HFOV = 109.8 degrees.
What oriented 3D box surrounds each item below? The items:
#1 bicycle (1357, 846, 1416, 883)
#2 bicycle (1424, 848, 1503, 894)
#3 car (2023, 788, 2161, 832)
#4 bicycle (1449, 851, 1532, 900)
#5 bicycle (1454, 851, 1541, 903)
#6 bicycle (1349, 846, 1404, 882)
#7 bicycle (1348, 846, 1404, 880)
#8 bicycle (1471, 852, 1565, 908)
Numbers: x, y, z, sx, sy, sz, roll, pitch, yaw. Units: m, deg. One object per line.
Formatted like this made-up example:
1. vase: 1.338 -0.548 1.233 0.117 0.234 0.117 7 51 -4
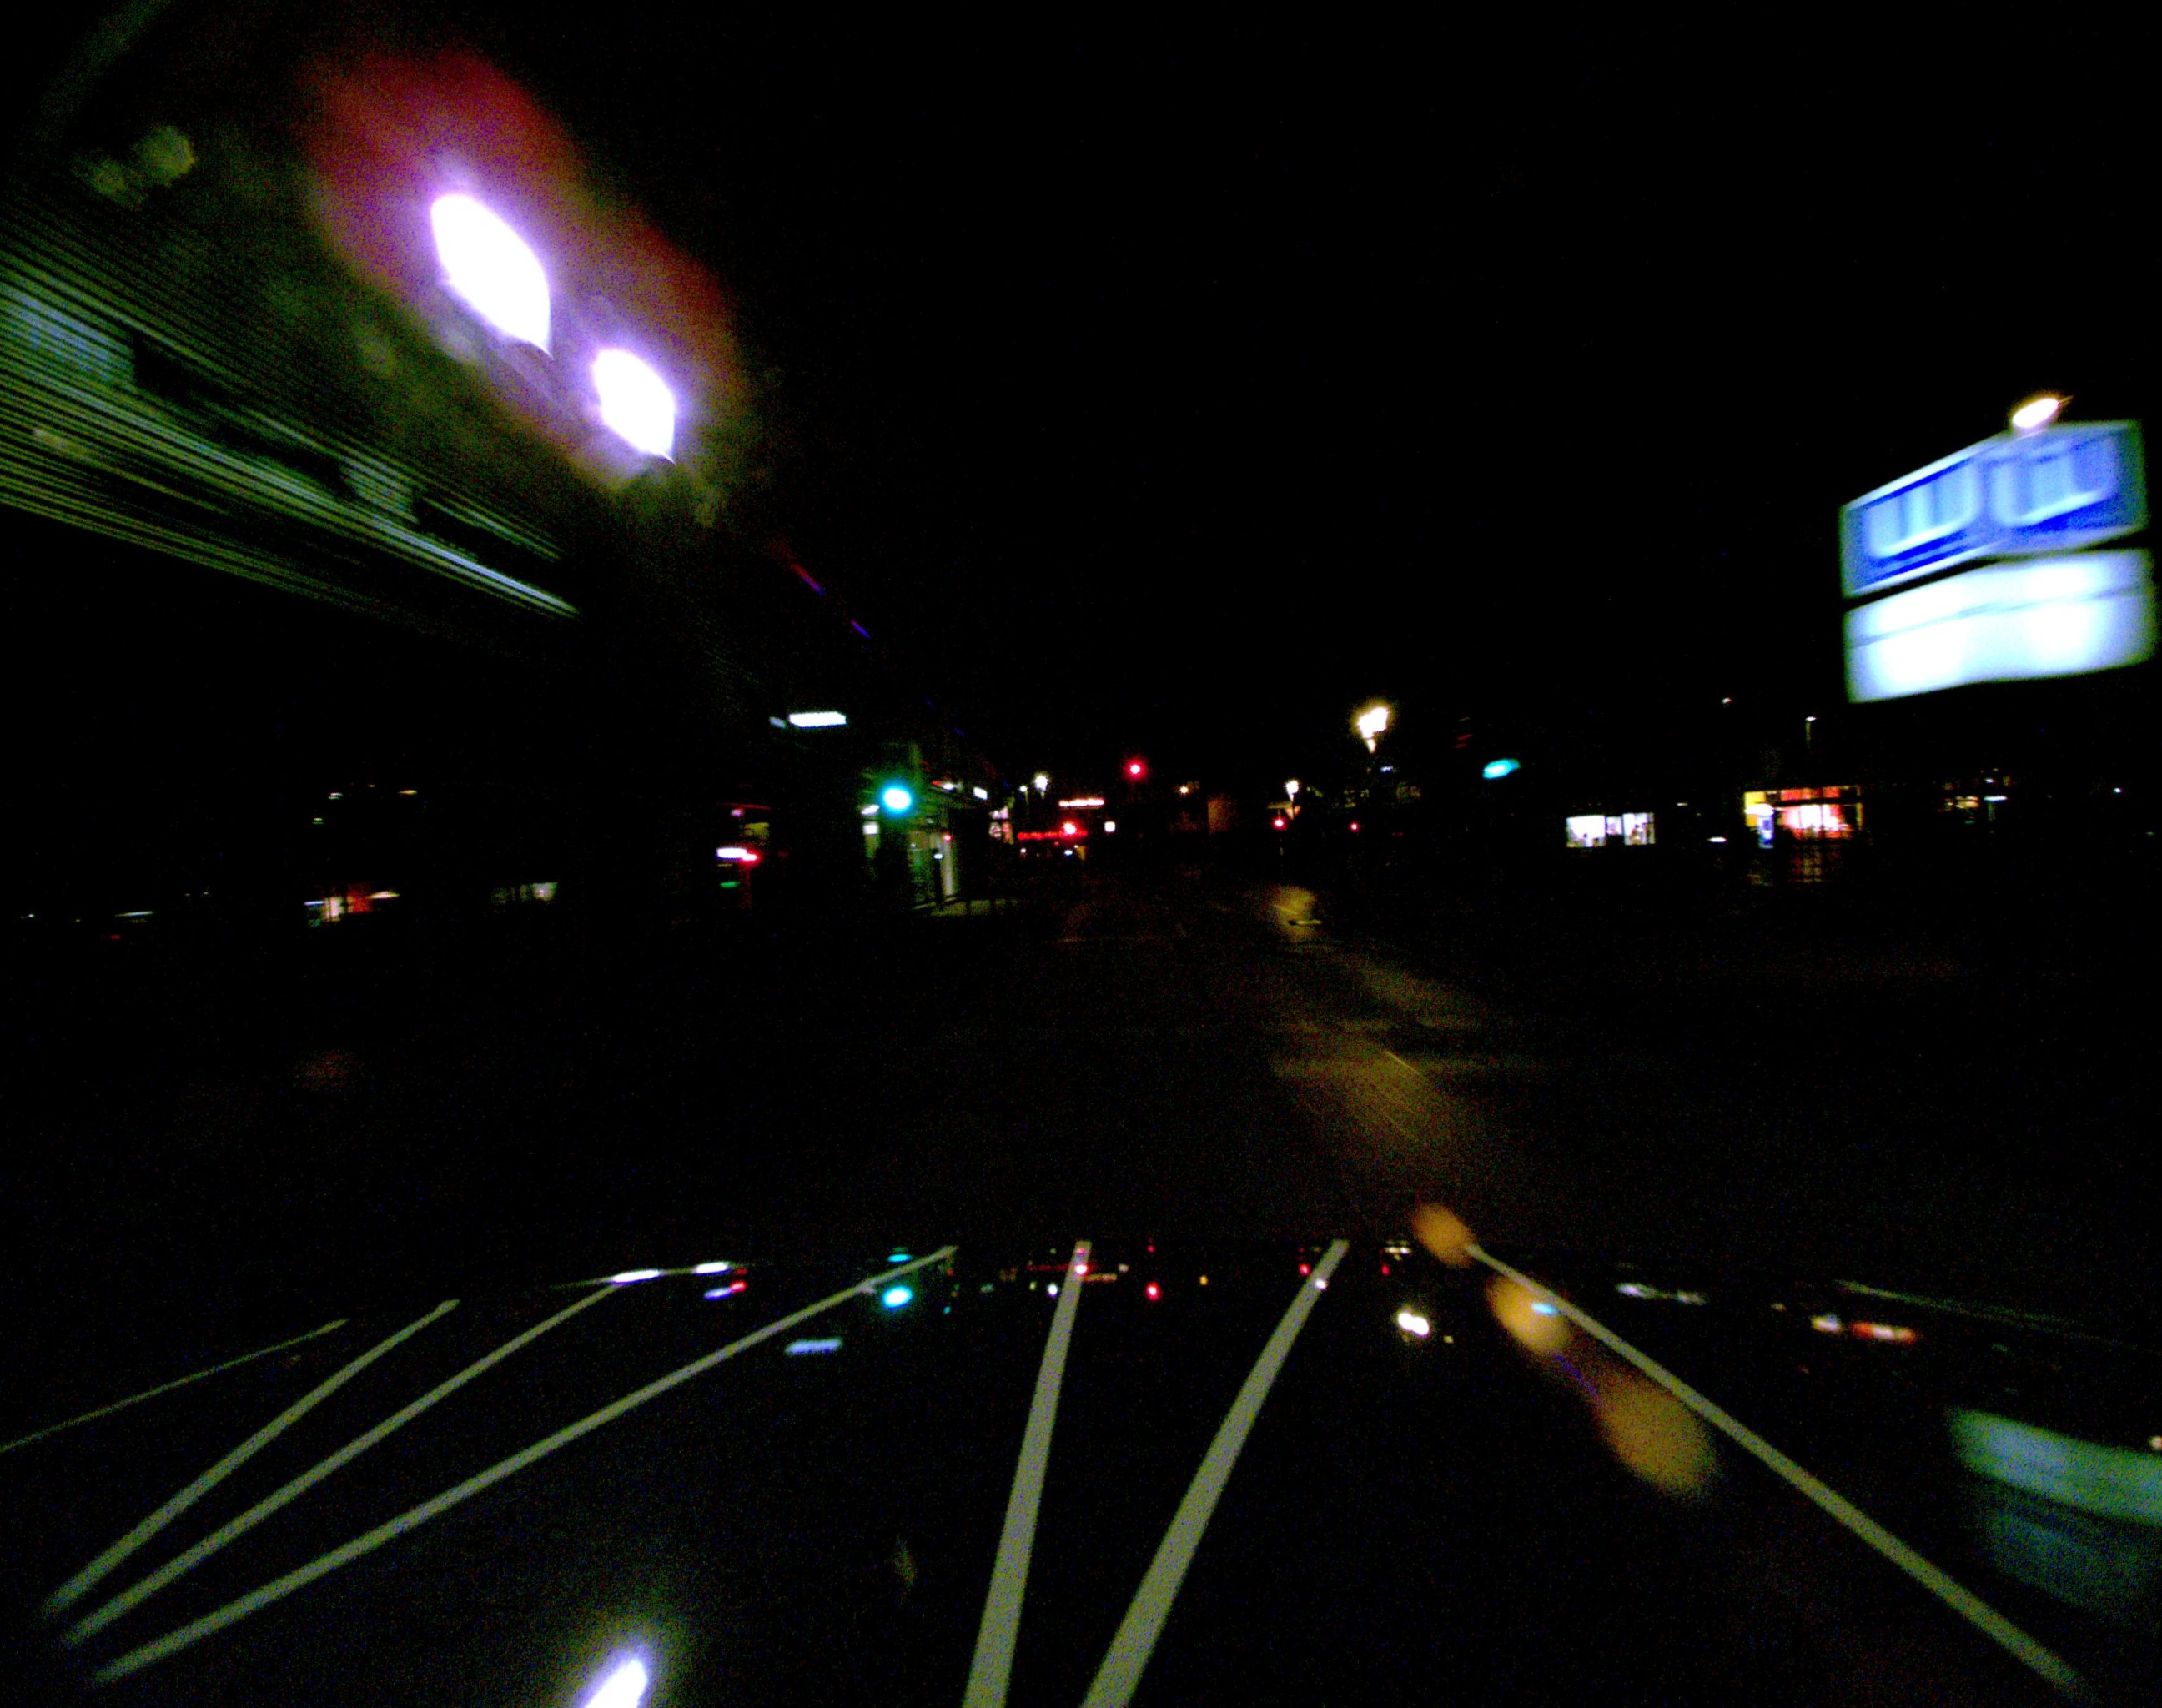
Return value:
1. bicycle: 10.967 0.373 27.343 1.738 1.159 0.787 -5 0 10
2. bicycle: 10.379 0.445 20.660 1.773 1.157 0.670 -3 1 4
3. car: 52.351 -2.235 39.138 4.409 1.925 1.963 -2 -1 19
4. bicycle: 10.010 0.521 18.616 1.619 1.099 0.670 -3 2 4
5. bicycle: 9.781 0.540 17.879 1.619 1.099 0.670 -3 1 4
6. bicycle: 11.019 0.373 28.376 1.738 1.151 0.787 -5 1 10
7. bicycle: 11.497 0.348 29.687 1.837 1.151 0.787 -5 1 10
8. bicycle: 9.524 0.566 16.589 1.619 1.099 0.670 -3 2 4
